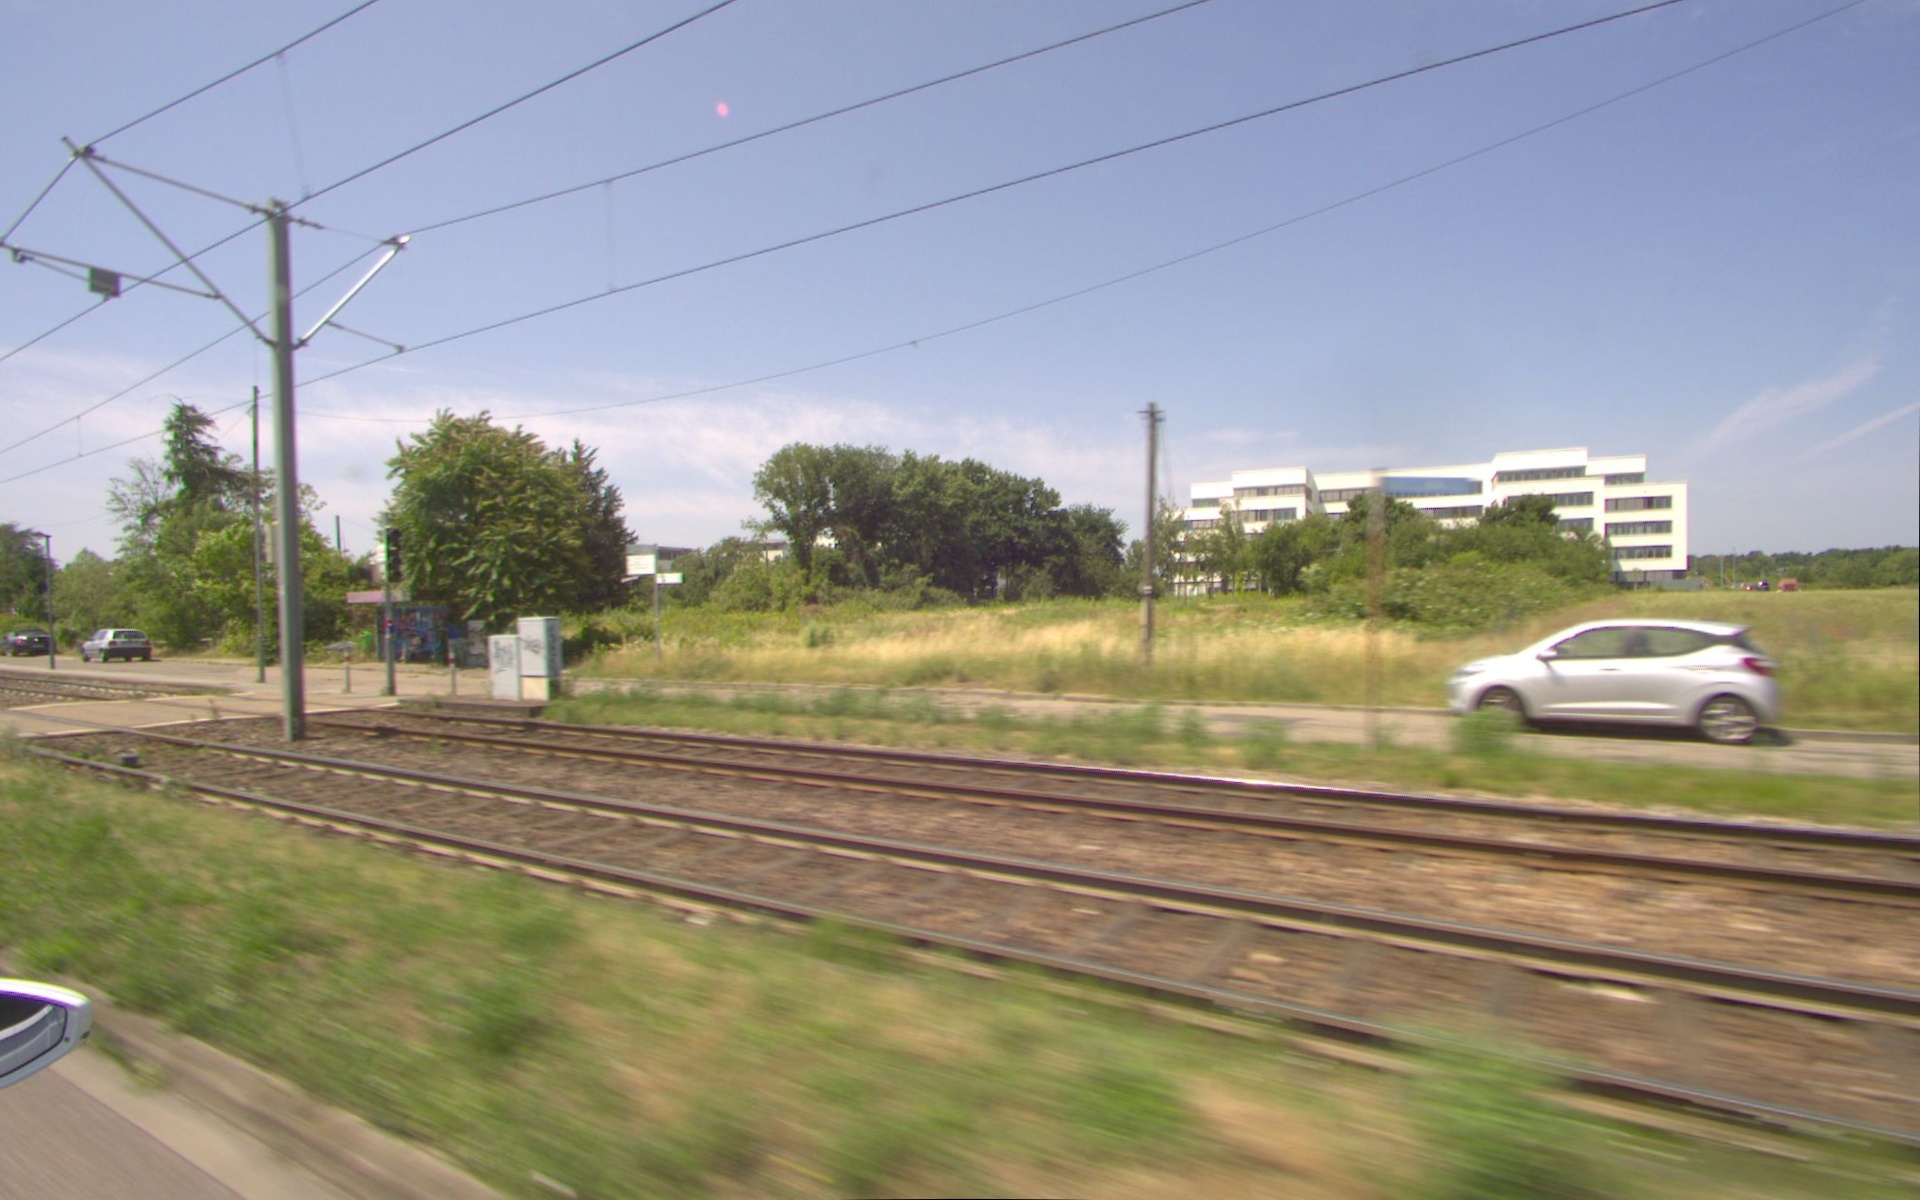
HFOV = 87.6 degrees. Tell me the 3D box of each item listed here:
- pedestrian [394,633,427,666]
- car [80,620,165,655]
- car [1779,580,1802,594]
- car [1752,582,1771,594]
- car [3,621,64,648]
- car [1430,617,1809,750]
[{"bbox_3d":[-18.742,1.687,34.169,0.711,1.101,0.804,0,0,43],"label":"pedestrian"},{"bbox_3d":[-36.669,1.620,43.810,3.947,1.440,1.934,-1,-1,35],"label":"car"},{"bbox_3d":[127.704,-1.956,153.964,1.837,1.940,4.665,-1,-1,29],"label":"car"},{"bbox_3d":[135.725,-2.042,169.613,1.738,1.842,4.201,-1,-1,28],"label":"car"},{"bbox_3d":[-51.289,1.911,55.399,4.809,1.440,1.615,-1,-1,36],"label":"car"},{"bbox_3d":[8.486,1.000,13.212,3.946,1.508,1.709,-1,-1,34],"label":"car"}]
